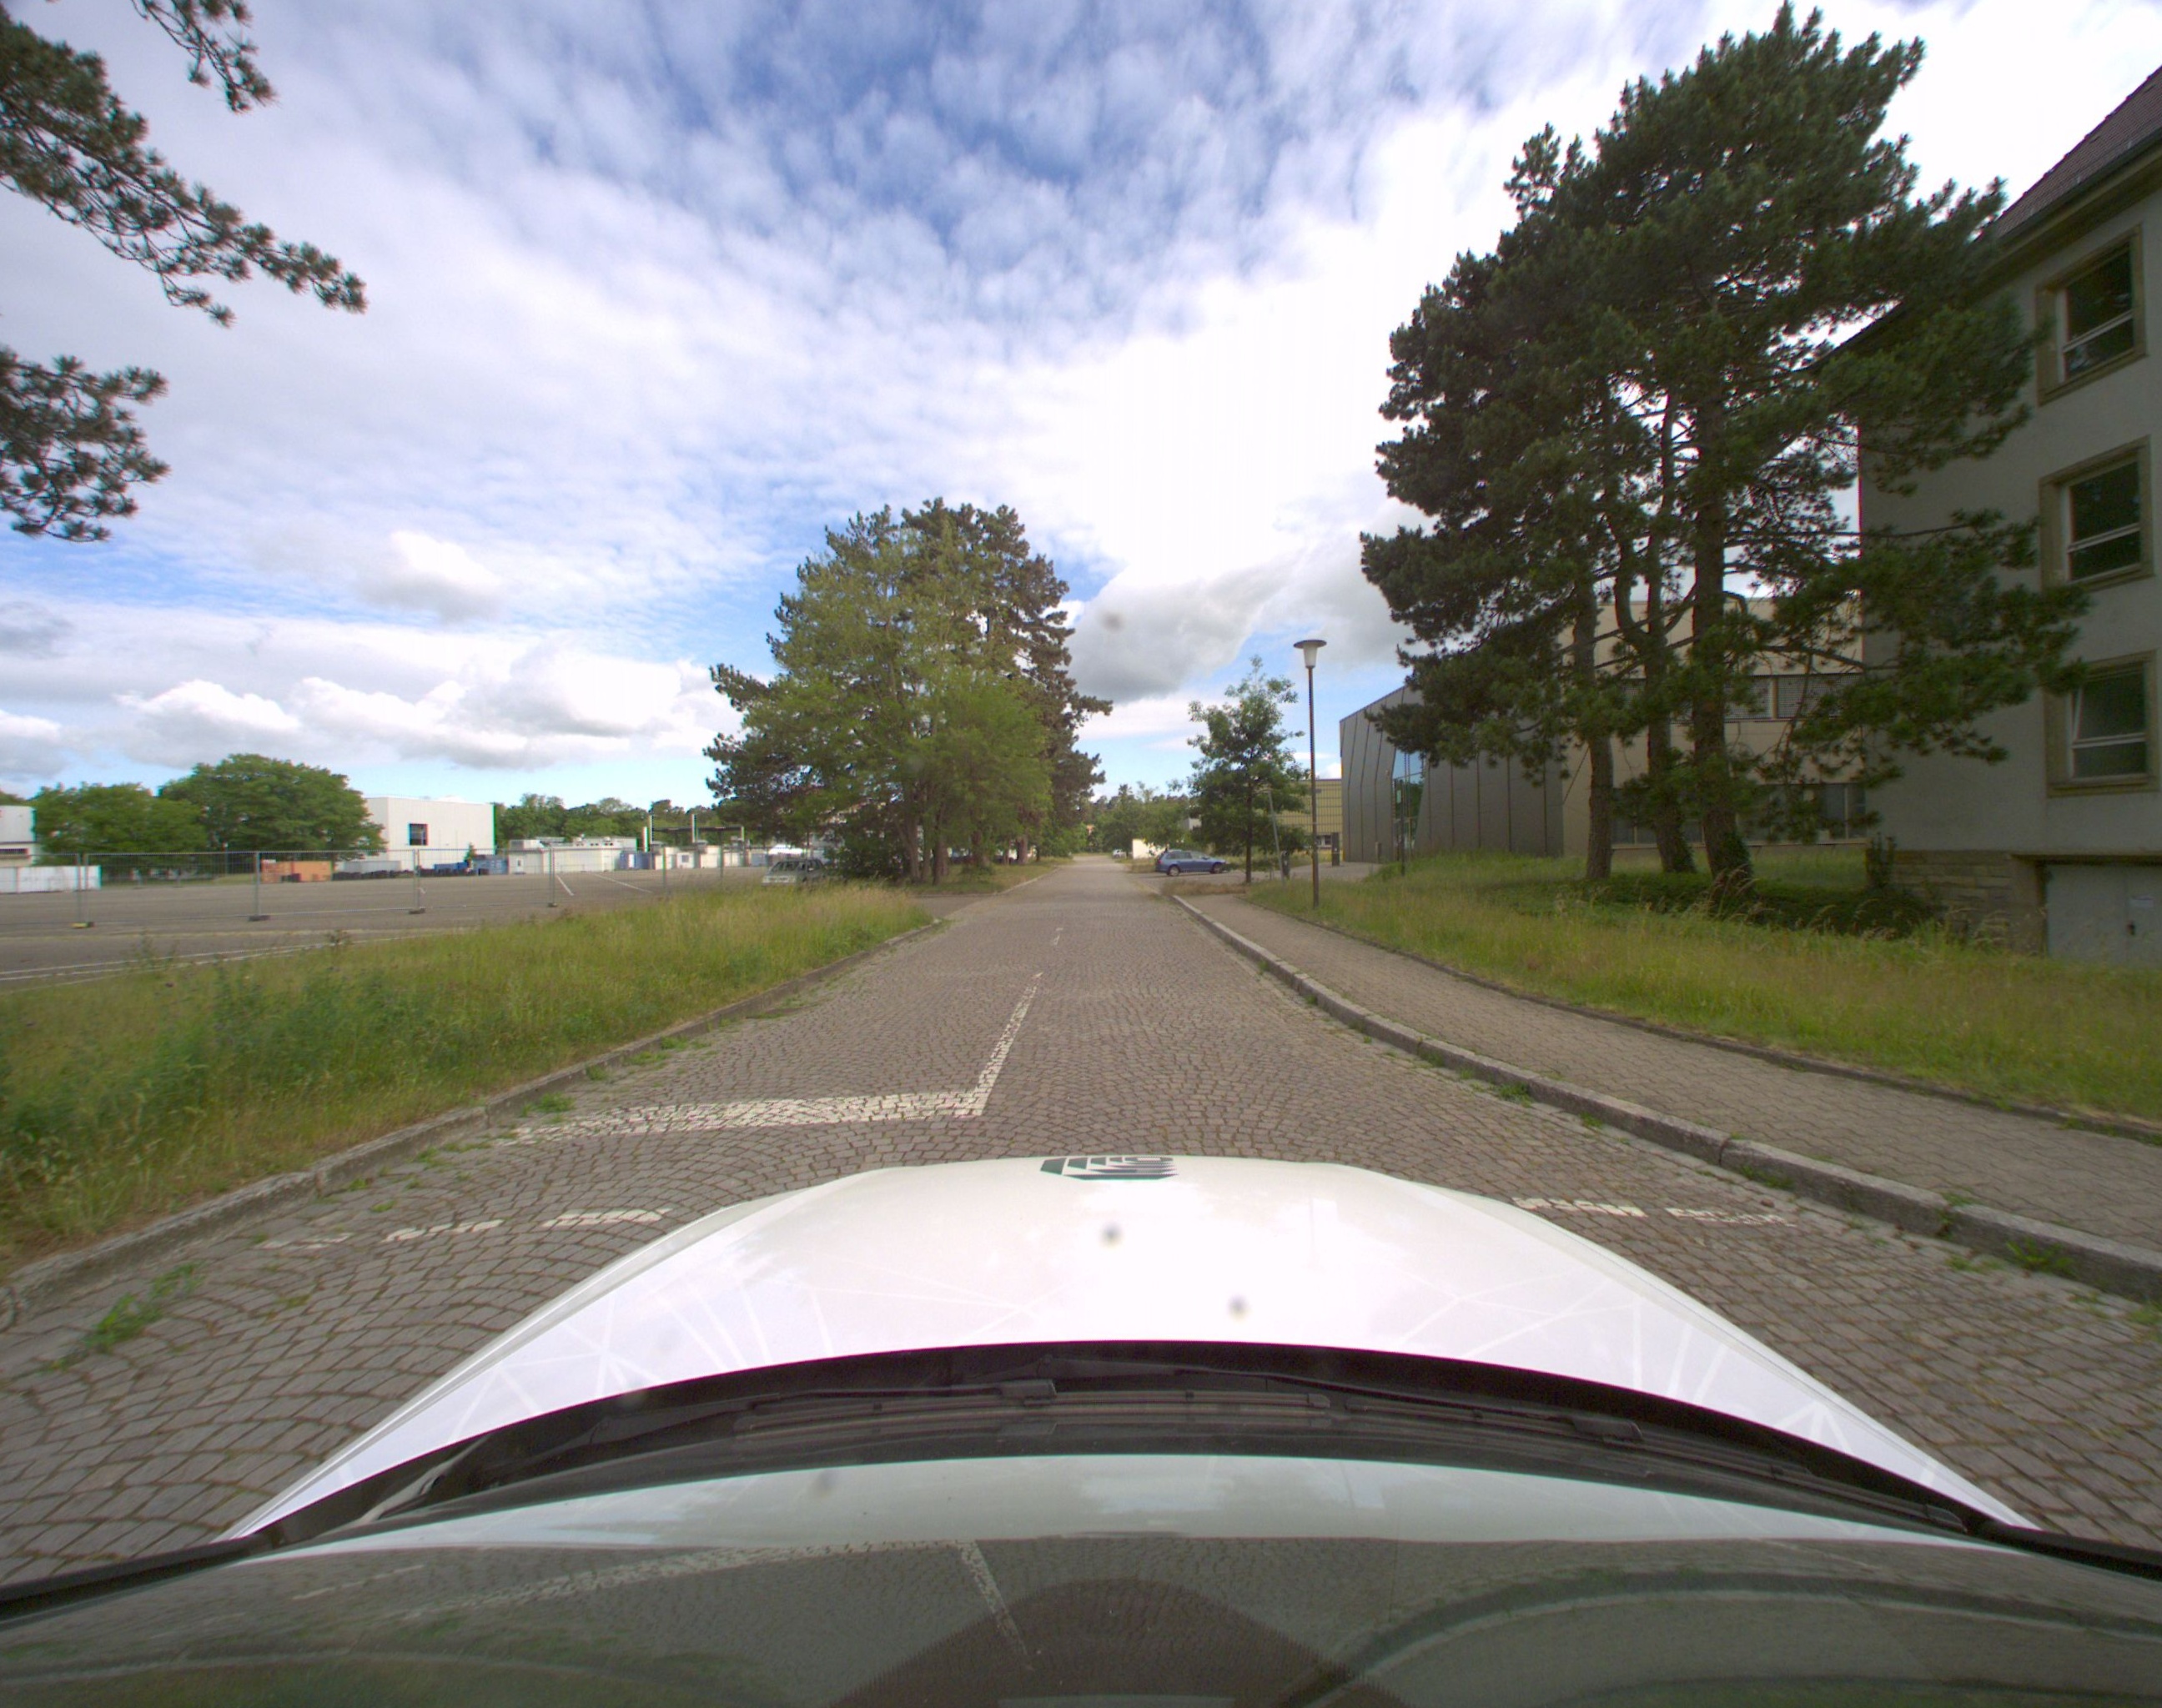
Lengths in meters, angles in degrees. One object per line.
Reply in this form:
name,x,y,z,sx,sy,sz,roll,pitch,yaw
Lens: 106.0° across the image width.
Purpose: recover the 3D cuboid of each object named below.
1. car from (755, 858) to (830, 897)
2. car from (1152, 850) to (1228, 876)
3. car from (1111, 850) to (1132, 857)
car,-12.055,0.937,34.318,1.607,1.487,4.001,-1,0,1
car,6.548,0.522,49.228,4.332,1.422,1.999,-2,0,-1
car,8.216,-0.067,166.318,3.980,1.398,1.997,-2,0,-5
